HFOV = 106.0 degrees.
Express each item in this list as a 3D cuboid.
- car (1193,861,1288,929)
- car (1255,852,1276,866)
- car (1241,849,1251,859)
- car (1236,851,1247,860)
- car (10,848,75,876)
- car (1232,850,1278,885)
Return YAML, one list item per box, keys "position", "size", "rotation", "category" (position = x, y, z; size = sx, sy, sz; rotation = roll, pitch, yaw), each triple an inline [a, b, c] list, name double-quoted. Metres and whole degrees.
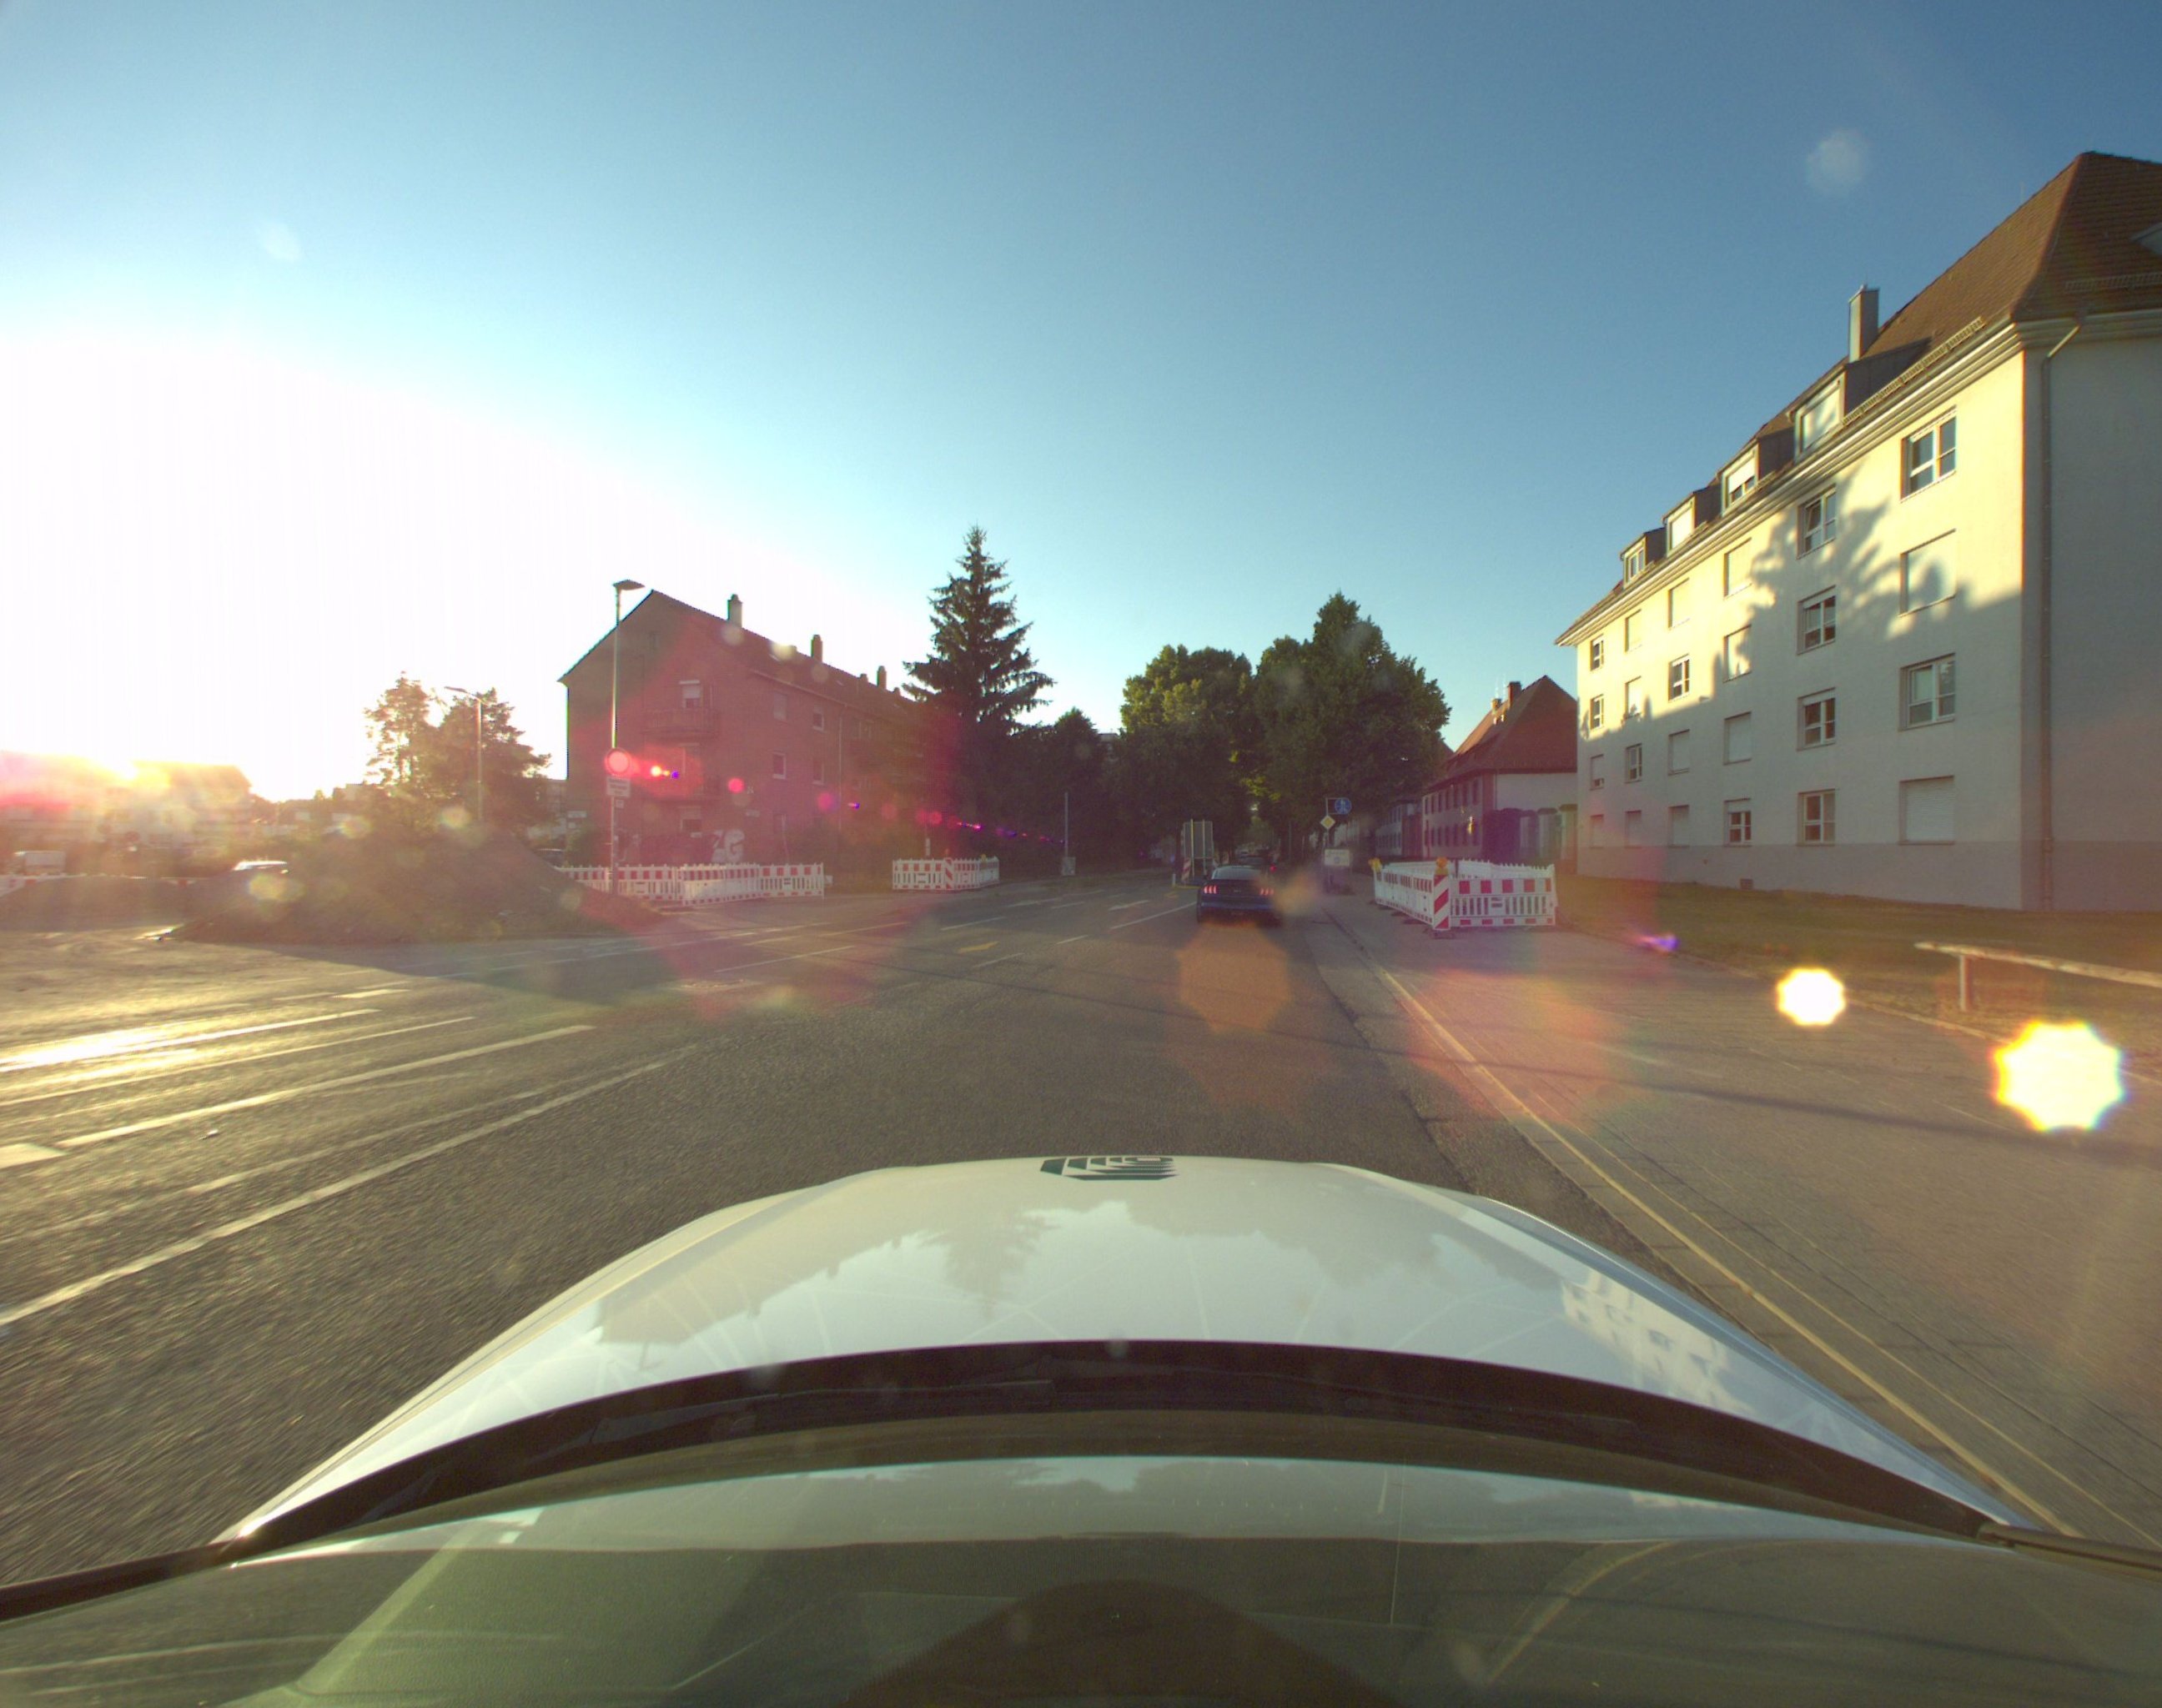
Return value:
- position: [3.812, 0.881, 19.212]
  size: [1.933, 1.326, 4.014]
  rotation: [2, 0, 13]
  category: "car"
- position: [18.711, 0.449, 82.495]
  size: [1.933, 1.326, 4.016]
  rotation: [2, 0, 15]
  category: "car"
- position: [43.808, 0.012, 216.372]
  size: [2.475, 2.697, 5.850]
  rotation: [0, 0, 12]
  category: "car"
- position: [40.342, 0.263, 205.057]
  size: [2.319, 2.198, 5.329]
  rotation: [0, 0, 14]
  category: "car"
- position: [-63.308, 0.477, 49.640]
  size: [3.949, 1.651, 1.864]
  rotation: [0, 0, 29]
  category: "car"
- position: [8.435, 0.609, 39.292]
  size: [1.933, 1.527, 4.016]
  rotation: [2, 0, 15]
  category: "car"
